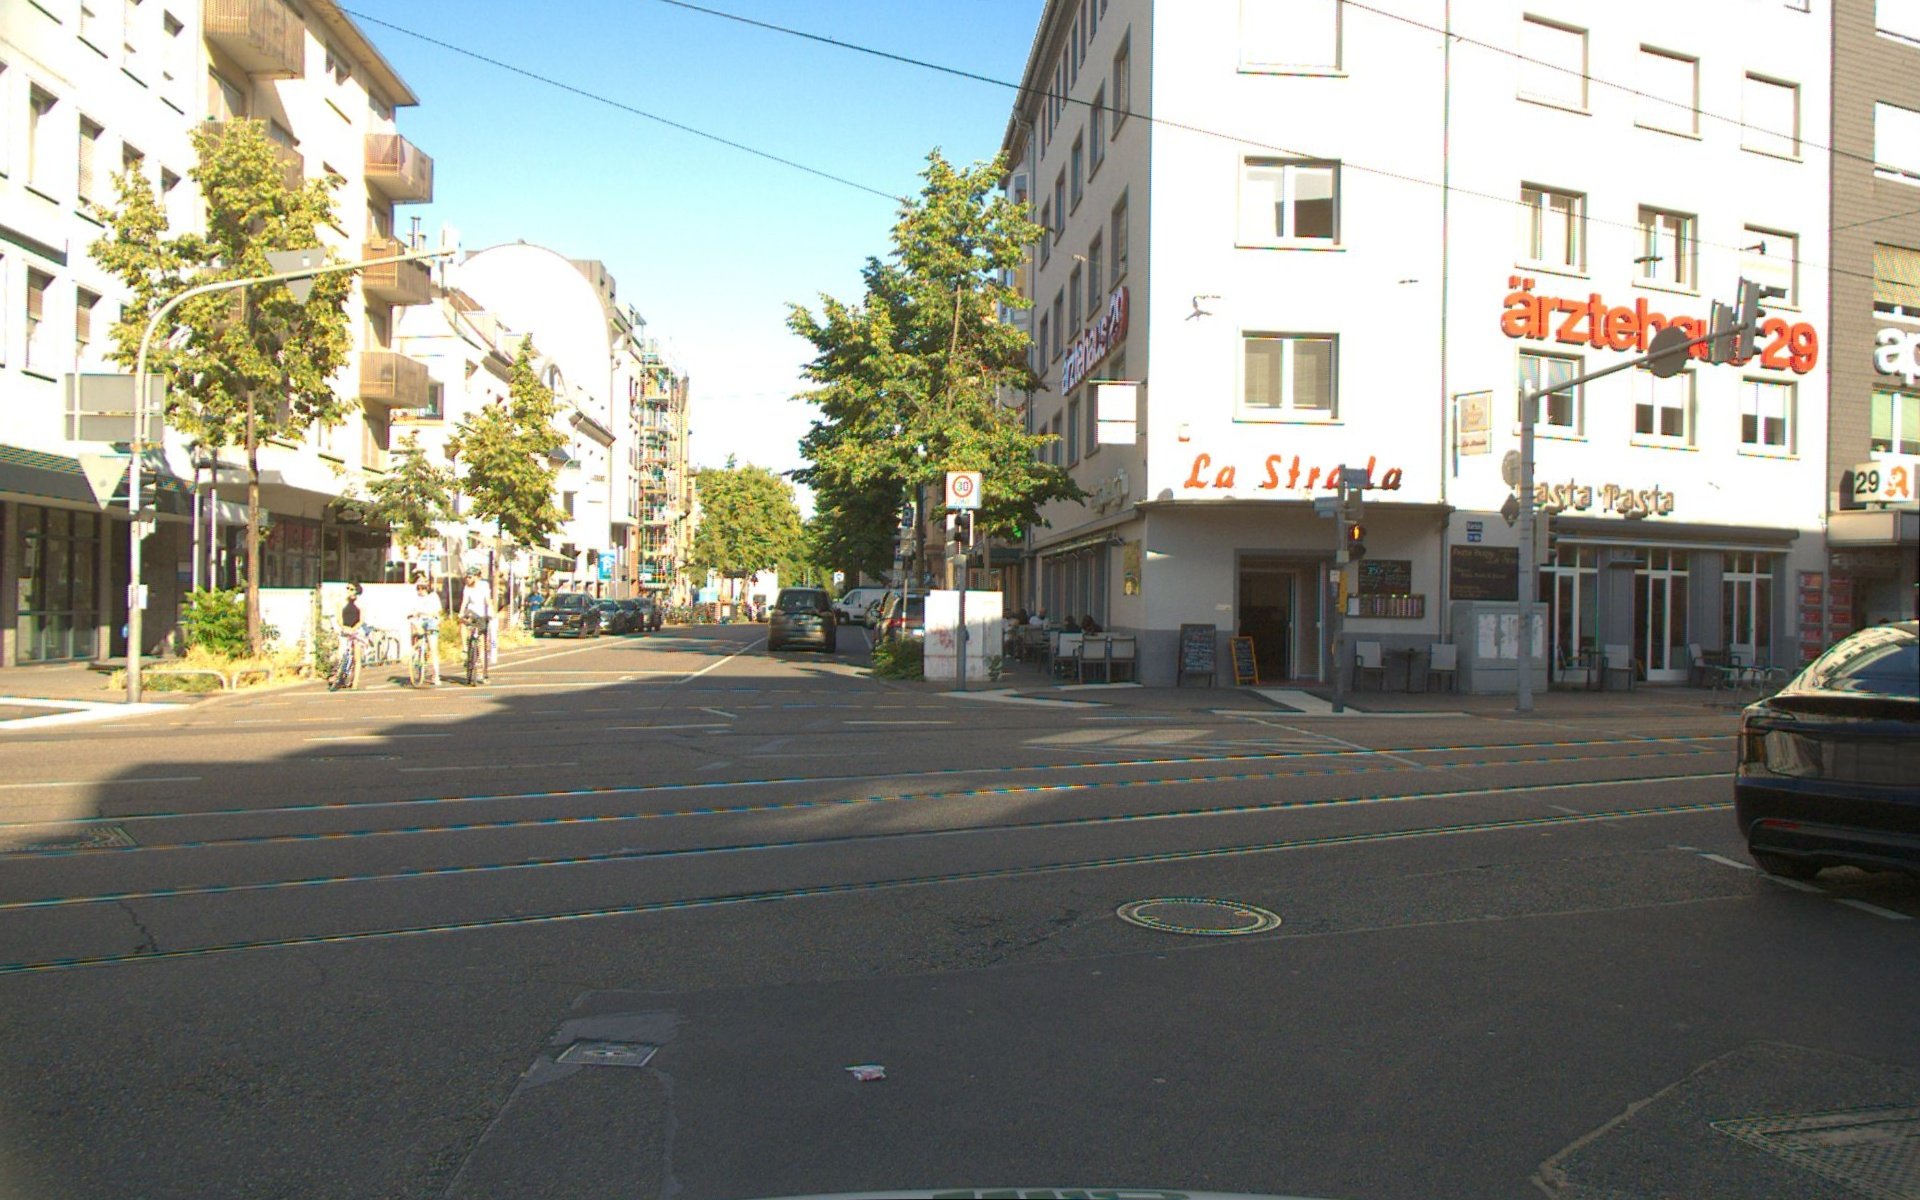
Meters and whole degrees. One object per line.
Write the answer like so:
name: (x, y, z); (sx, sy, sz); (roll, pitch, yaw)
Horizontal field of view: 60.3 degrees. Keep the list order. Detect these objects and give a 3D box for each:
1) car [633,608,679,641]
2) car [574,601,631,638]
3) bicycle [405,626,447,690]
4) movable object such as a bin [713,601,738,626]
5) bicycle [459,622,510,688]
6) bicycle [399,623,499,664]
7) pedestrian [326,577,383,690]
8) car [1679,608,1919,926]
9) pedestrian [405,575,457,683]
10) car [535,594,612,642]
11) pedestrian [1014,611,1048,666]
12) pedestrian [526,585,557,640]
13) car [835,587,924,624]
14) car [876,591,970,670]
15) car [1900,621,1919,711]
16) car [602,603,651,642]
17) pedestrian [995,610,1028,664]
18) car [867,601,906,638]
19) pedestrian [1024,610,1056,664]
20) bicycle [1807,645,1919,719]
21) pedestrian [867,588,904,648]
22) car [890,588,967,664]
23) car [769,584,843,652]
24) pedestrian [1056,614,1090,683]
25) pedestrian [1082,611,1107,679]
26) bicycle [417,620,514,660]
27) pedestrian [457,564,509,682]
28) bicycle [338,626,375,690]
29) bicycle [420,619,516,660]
car: (-14.284, 1.140, 77.980); (1.751, 1.427, 3.901); (2, 0, -5)
car: (-14.497, 0.780, 67.271); (1.751, 1.427, 3.901); (2, 0, -5)
bicycle: (-8.714, 0.929, 27.044); (0.543, 0.985, 1.787); (1, 0, -15)
movable object such as a bin: (-13.975, 0.793, 98.696); (1.290, 1.432, 1.064); (1, 0, -21)
bicycle: (-7.861, 0.891, 27.373); (0.746, 1.025, 1.718); (-2, 0, -15)
bicycle: (-12.745, 1.095, 41.306); (2.357, 0.975, 0.543); (1, -1, -16)
pedestrian: (-9.603, 0.526, 26.252); (0.778, 1.742, 0.651); (2, -1, -19)
car: (6.022, 0.809, 9.228); (4.318, 1.452, 1.851); (1, 0, -38)
pedestrian: (-8.792, 0.474, 27.501); (0.766, 1.758, 0.556); (2, -1, -18)
car: (-14.051, 0.633, 60.310); (1.953, 1.626, 3.998); (2, 0, -2)
pedestrian: (1.793, 0.965, 41.986); (0.716, 1.371, 1.058); (1, -1, -6)
pedestrian: (-16.097, 0.471, 63.653); (0.933, 2.049, 1.088); (-2, 0, -5)
car: (-4.852, 0.331, 99.544); (5.286, 2.183, 1.998); (1, -1, -5)
car: (-0.903, 0.661, 37.982); (1.961, 1.665, 4.285); (1, 0, -3)
car: (17.585, 1.082, 27.272); (4.077, 1.471, 1.703); (1, -3, -28)
car: (-14.712, 0.971, 73.093); (1.684, 1.638, 3.594); (1, 0, -4)
pedestrian: (1.332, 0.958, 43.067); (0.695, 1.371, 1.058); (1, -1, -7)
car: (-3.920, 1.038, 87.969); (1.954, 1.856, 3.997); (2, 0, -3)
pedestrian: (2.088, 0.970, 43.277); (0.716, 1.384, 0.958); (1, -1, -4)
bicycle: (17.396, 1.540, 31.548); (0.764, 1.245, 2.087); (1, 1, -32)
pedestrian: (-2.438, 0.577, 54.372); (0.937, 1.949, 1.106); (1, -1, 12)
car: (-0.897, 0.669, 44.420); (1.866, 1.884, 4.285); (1, 0, -3)
car: (-4.257, 0.494, 46.225); (1.866, 1.763, 4.285); (1, 0, -3)
pedestrian: (2.219, 0.943, 32.504); (0.574, 1.336, 0.560); (1, -1, -4)
pedestrian: (2.713, 0.906, 33.318); (0.477, 1.345, 0.654); (1, -1, 4)
bicycle: (-12.726, 1.032, 42.631); (2.349, 0.995, 0.653); (1, -1, -14)
pedestrian: (-7.877, 0.363, 27.309); (0.766, 1.899, 0.996); (-1, 1, -18)
bicycle: (-9.660, 0.917, 26.515); (0.472, 0.972, 1.448); (1, 0, -17)
bicycle: (-12.912, 1.031, 43.454); (2.356, 1.023, 0.653); (1, -1, -15)
